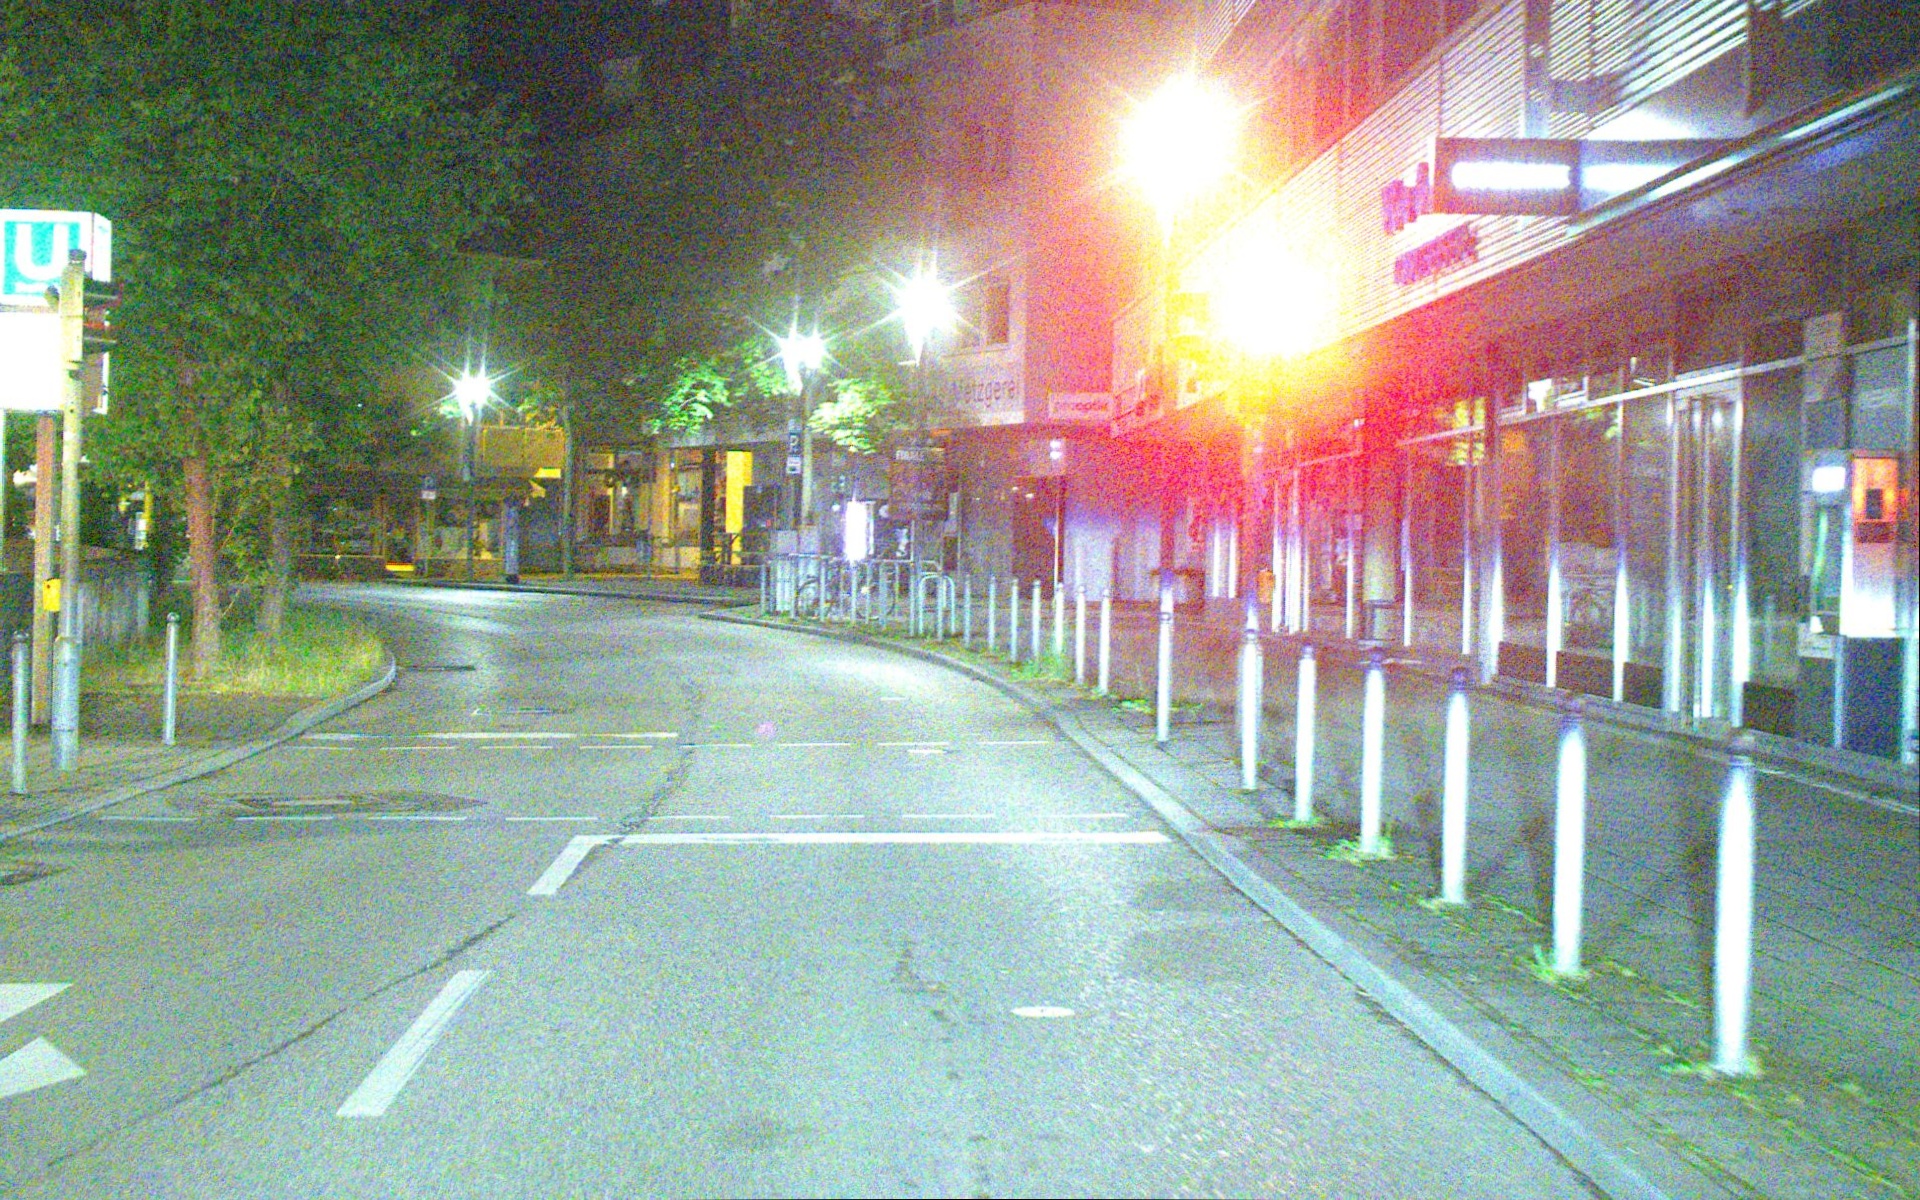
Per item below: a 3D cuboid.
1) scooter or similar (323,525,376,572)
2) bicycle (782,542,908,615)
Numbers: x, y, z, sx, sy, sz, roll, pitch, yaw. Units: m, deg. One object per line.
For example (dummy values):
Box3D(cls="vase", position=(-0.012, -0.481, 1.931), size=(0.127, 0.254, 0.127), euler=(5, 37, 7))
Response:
Box3D(cls="scooter or similar", position=(-16.594, -1.396, 93.455), size=(1.246, 1.223, 0.598), euler=(2, 2, -29))
Box3D(cls="bicycle", position=(-1.712, -0.321, 51.275), size=(1.749, 1.059, 0.656), euler=(0, 2, -26))
